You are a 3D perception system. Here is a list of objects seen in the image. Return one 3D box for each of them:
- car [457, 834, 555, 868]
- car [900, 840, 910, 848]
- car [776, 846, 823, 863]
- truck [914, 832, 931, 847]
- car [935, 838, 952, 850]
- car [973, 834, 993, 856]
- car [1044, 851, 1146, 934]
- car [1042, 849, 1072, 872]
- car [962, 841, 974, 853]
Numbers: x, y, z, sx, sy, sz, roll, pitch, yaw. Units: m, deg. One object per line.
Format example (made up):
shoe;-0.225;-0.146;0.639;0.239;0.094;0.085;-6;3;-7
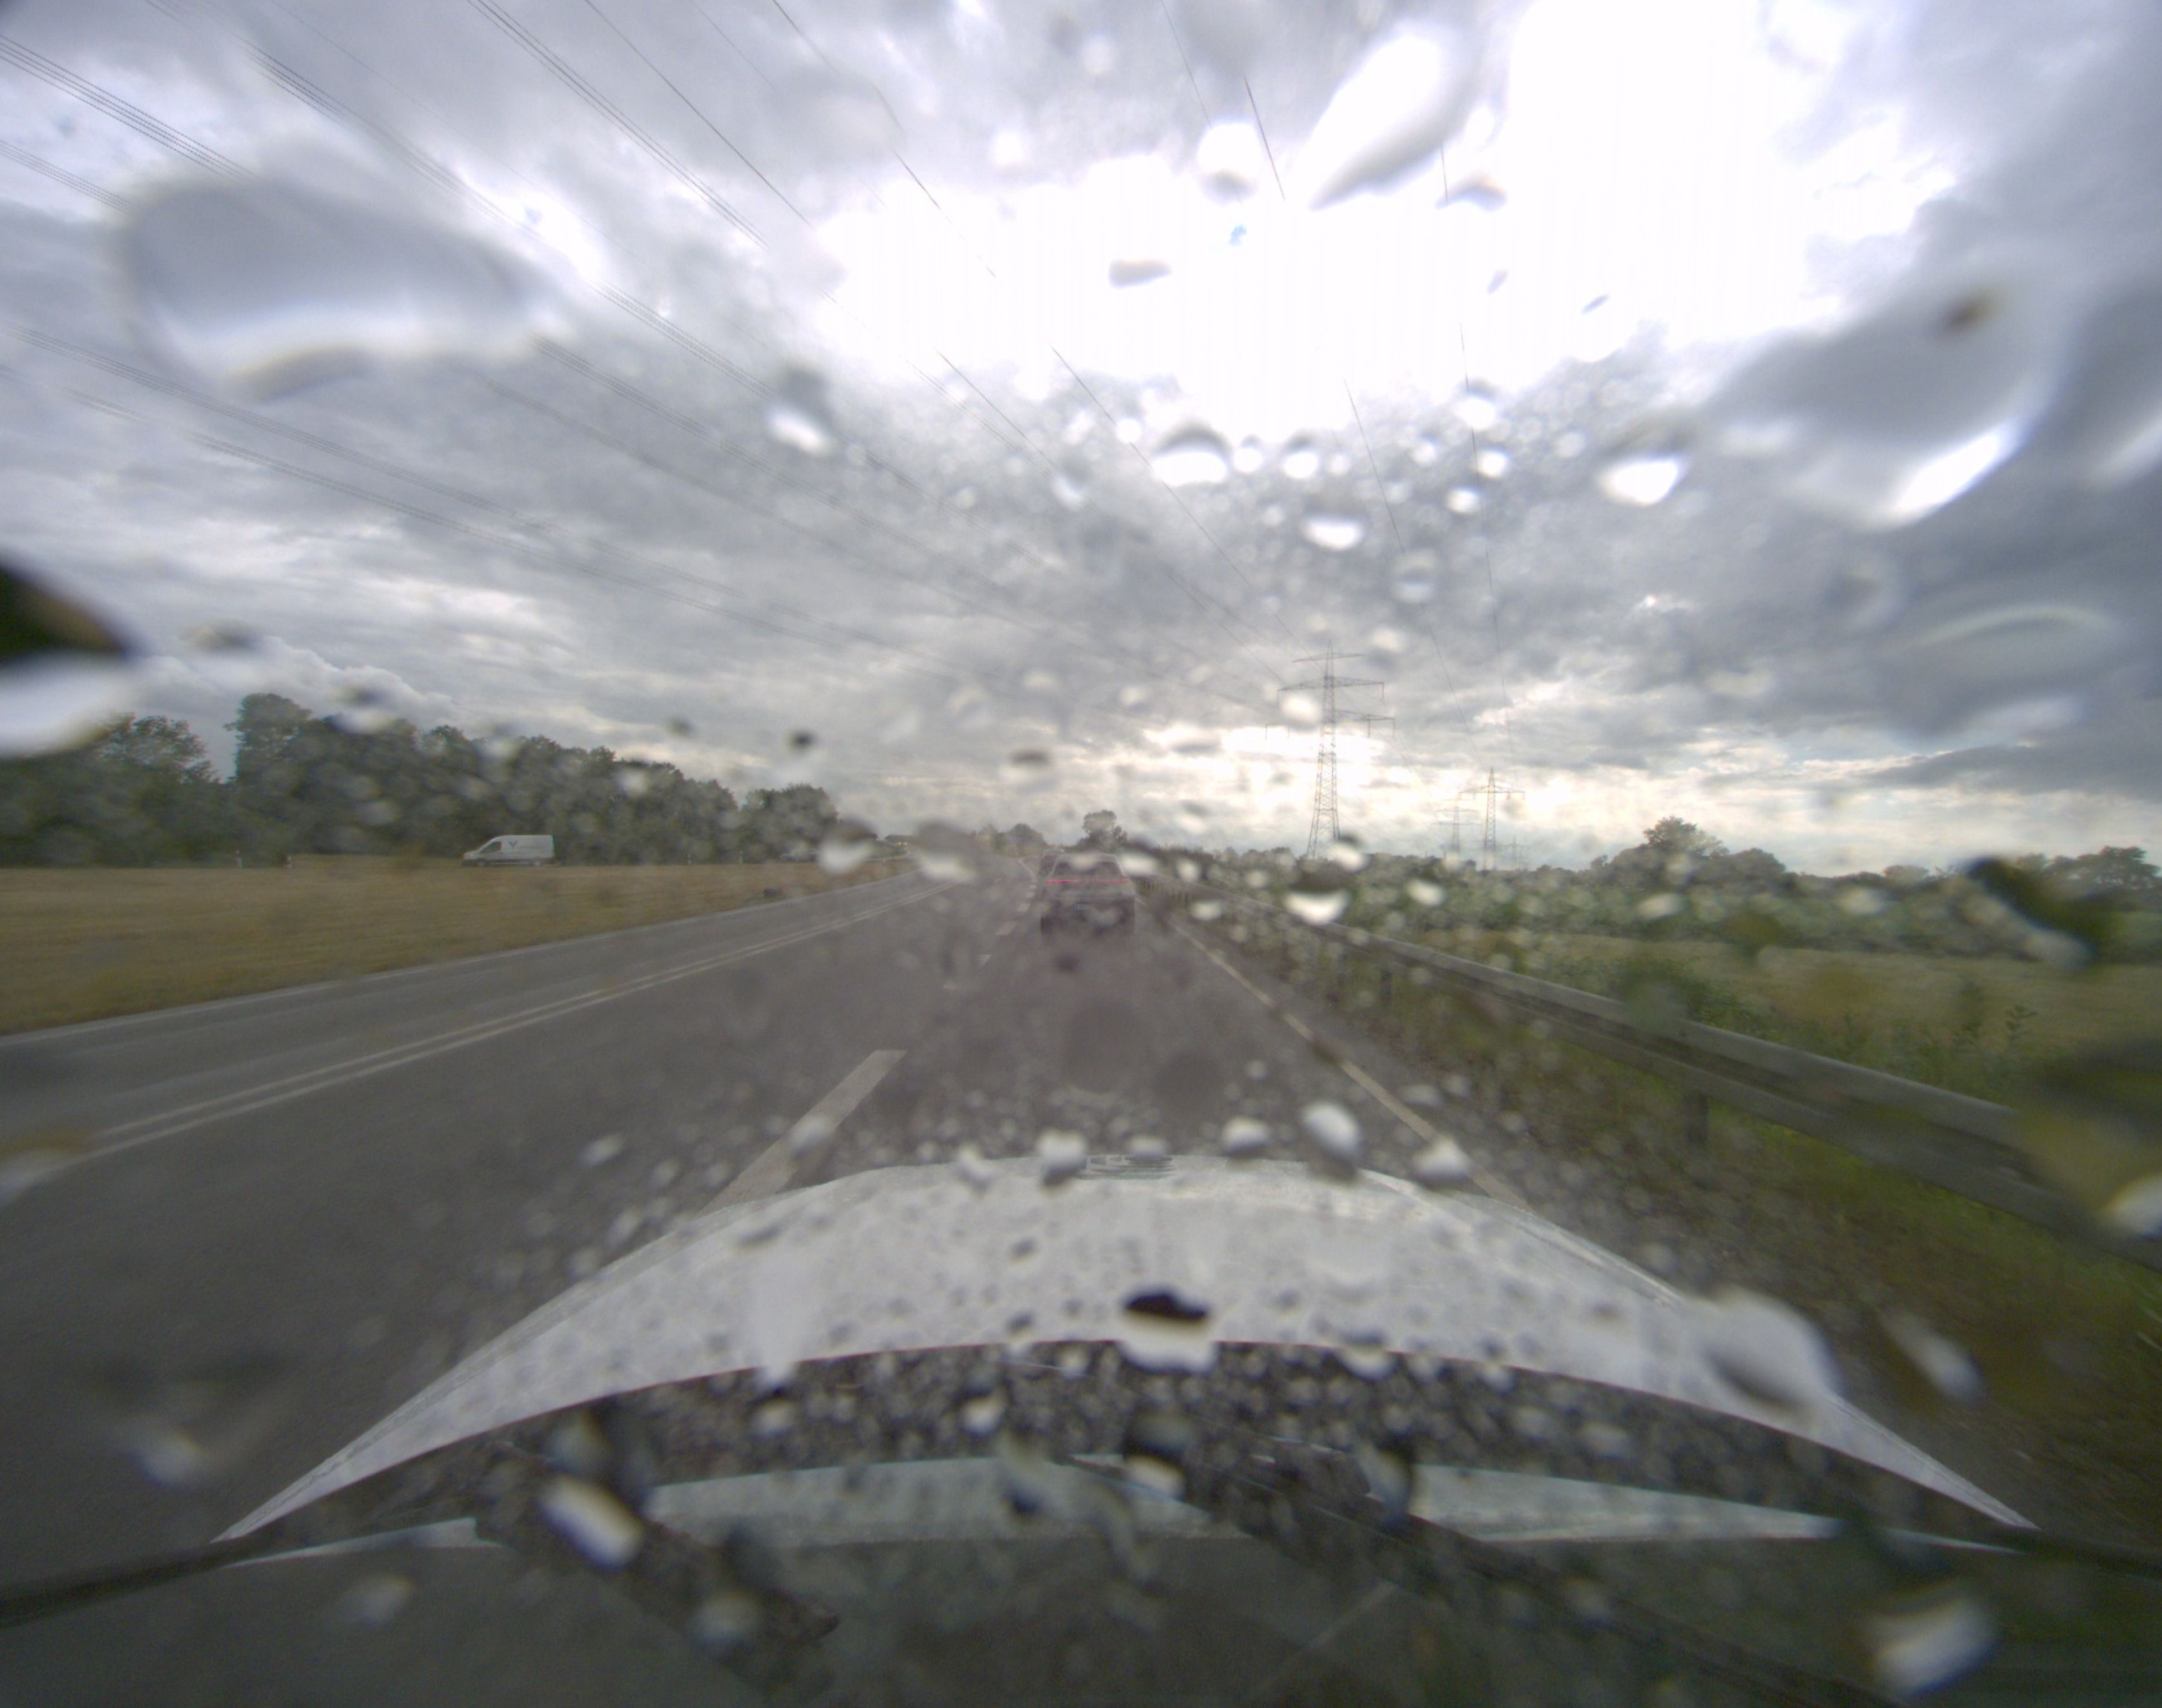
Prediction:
car;-41.559;-0.167;58.924;5.499;2.391;2.413;1;-1;-42
car;-37.214;-2.147;171.937;1.748;1.365;4.027;-4;0;-16
car;-26.675;0.045;77.226;1.962;1.603;3.941;0;1;30
truck;-37.840;-3.457;194.227;3.056;3.385;7.593;1;-1;-20
car;-28.476;-2.122;168.556;2.611;2.251;5.498;1;-1;-20
car;-13.196;-1.239;109.428;2.571;2.725;7.177;-2;1;-8
car;0.278;0.697;16.382;1.785;1.441;4.000;0;-1;1
car;-1.706;0.465;56.280;1.789;1.441;3.992;2;-1;-6
car;-17.957;-1.120;129.667;1.792;1.688;3.986;0;-1;-10
